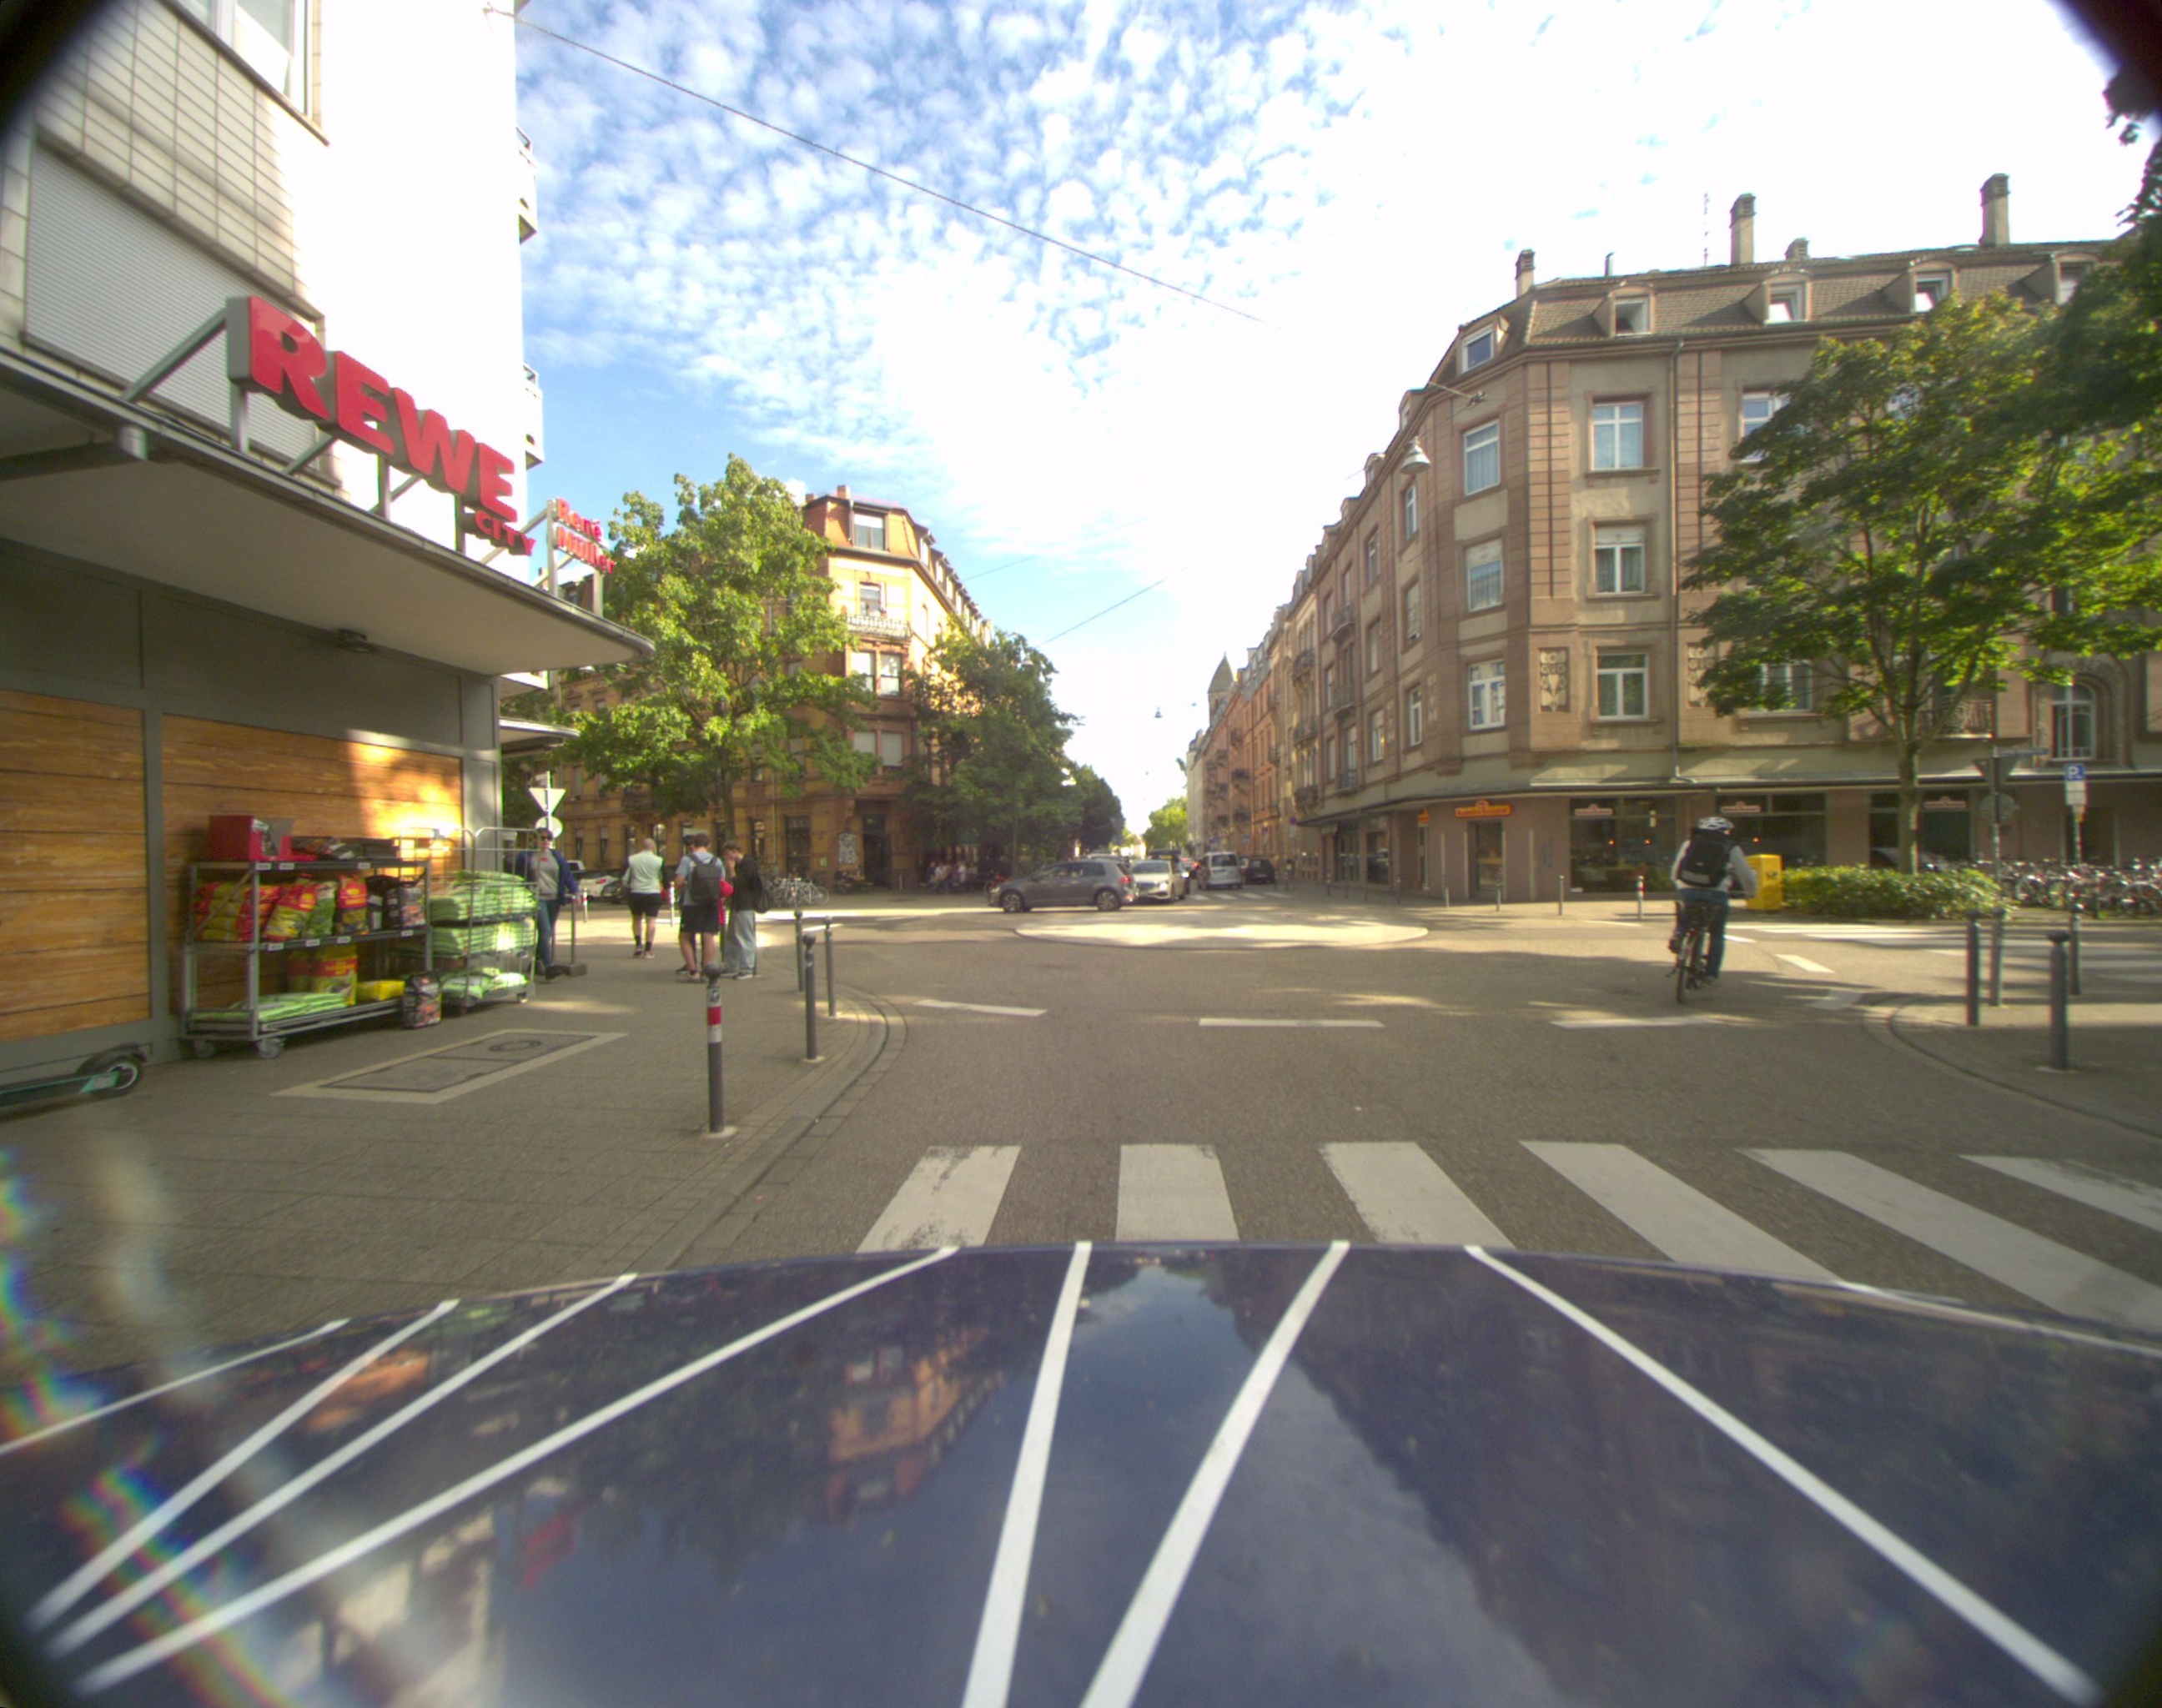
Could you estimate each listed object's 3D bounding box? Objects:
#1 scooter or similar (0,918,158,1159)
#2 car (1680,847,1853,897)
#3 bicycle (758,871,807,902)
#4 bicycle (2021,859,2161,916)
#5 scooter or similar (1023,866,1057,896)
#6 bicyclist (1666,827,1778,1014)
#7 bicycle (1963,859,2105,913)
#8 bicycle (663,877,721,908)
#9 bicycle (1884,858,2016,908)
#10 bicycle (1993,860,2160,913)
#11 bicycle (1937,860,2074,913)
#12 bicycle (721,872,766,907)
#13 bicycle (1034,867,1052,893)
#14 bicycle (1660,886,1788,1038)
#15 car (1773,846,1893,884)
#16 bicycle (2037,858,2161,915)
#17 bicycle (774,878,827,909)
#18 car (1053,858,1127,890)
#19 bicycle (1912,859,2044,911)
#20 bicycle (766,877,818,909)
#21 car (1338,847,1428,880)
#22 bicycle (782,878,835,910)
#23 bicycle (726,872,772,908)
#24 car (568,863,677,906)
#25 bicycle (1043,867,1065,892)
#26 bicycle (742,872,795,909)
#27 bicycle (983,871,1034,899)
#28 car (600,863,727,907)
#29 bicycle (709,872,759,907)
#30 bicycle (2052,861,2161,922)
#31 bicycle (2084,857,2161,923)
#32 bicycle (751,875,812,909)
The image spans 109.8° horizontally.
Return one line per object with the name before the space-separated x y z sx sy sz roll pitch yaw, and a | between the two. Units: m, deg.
scooter or similar | -5.980 0.994 4.022 0.633 1.206 1.256 1 0 2
car | 22.085 0.568 24.723 1.766 1.421 3.998 -2 0 -5
bicycle | -12.077 1.296 30.826 0.598 1.108 1.803 0 2 33
bicycle | 20.741 0.681 15.582 2.261 1.127 0.479 -1 1 2
scooter or similar | -1.661 1.084 30.713 1.289 1.203 0.557 -1 -2 30
bicyclist | 6.219 0.592 7.429 0.701 1.668 1.115 0 0 33
bicycle | 20.682 0.688 16.508 2.429 1.127 0.479 -1 1 2
bicycle | -14.579 1.429 28.443 2.493 1.090 0.582 -1 4 30
bicycle | 20.724 0.693 18.142 2.429 1.127 0.580 -1 0 2
bicycle | 21.645 0.712 16.557 2.510 1.095 0.709 -1 -1 4
bicycle | 20.692 0.723 17.029 2.429 1.127 0.479 -1 0 2
bicycle | -12.807 1.342 28.911 0.447 1.195 1.714 0 2 21
bicycle | -1.719 1.147 33.856 0.434 1.094 1.672 1 0 -16
bicycle | 6.295 0.963 7.544 0.701 1.213 2.121 0 0 33
car | 34.101 0.486 34.535 3.629 1.557 1.579 -3 0 6
bicycle | 21.605 0.662 15.740 2.510 1.095 0.651 -2 -1 5
bicycle | -10.031 1.391 27.219 0.447 0.981 1.715 1 3 42
car | 0.464 1.021 39.792 3.591 1.606 1.511 1 0 -19
bicycle | 20.710 0.708 17.567 2.429 1.127 0.479 -1 0 2
bicycle | -10.410 1.395 27.443 0.447 0.981 1.715 1 3 42
car | 16.270 0.508 41.036 3.998 1.611 1.999 -2 0 -4
bicycle | -9.656 1.401 26.961 0.447 0.964 1.715 1 3 42
bicycle | -12.460 1.340 28.559 0.447 1.195 1.714 0 2 21
car | -20.668 1.355 34.350 1.856 1.711 3.715 -3 0 30
bicycle | -1.219 1.129 34.059 0.476 1.094 1.672 1 0 -20
bicycle | -11.434 1.317 27.835 0.447 1.195 1.715 1 3 42
bicycle | -2.797 1.176 29.266 1.855 1.029 0.684 -1 0 3
car | -18.137 1.303 33.171 2.001 1.561 4.320 -2 1 35
bicycle | -13.290 1.336 29.165 0.447 1.195 1.715 0 2 33
bicycle | 20.731 0.733 15.062 2.289 1.151 0.479 -1 1 2
bicycle | 20.717 0.682 14.555 2.291 1.217 0.479 -1 1 2
bicycle | -10.855 1.356 27.618 0.447 1.083 2.049 1 3 42
